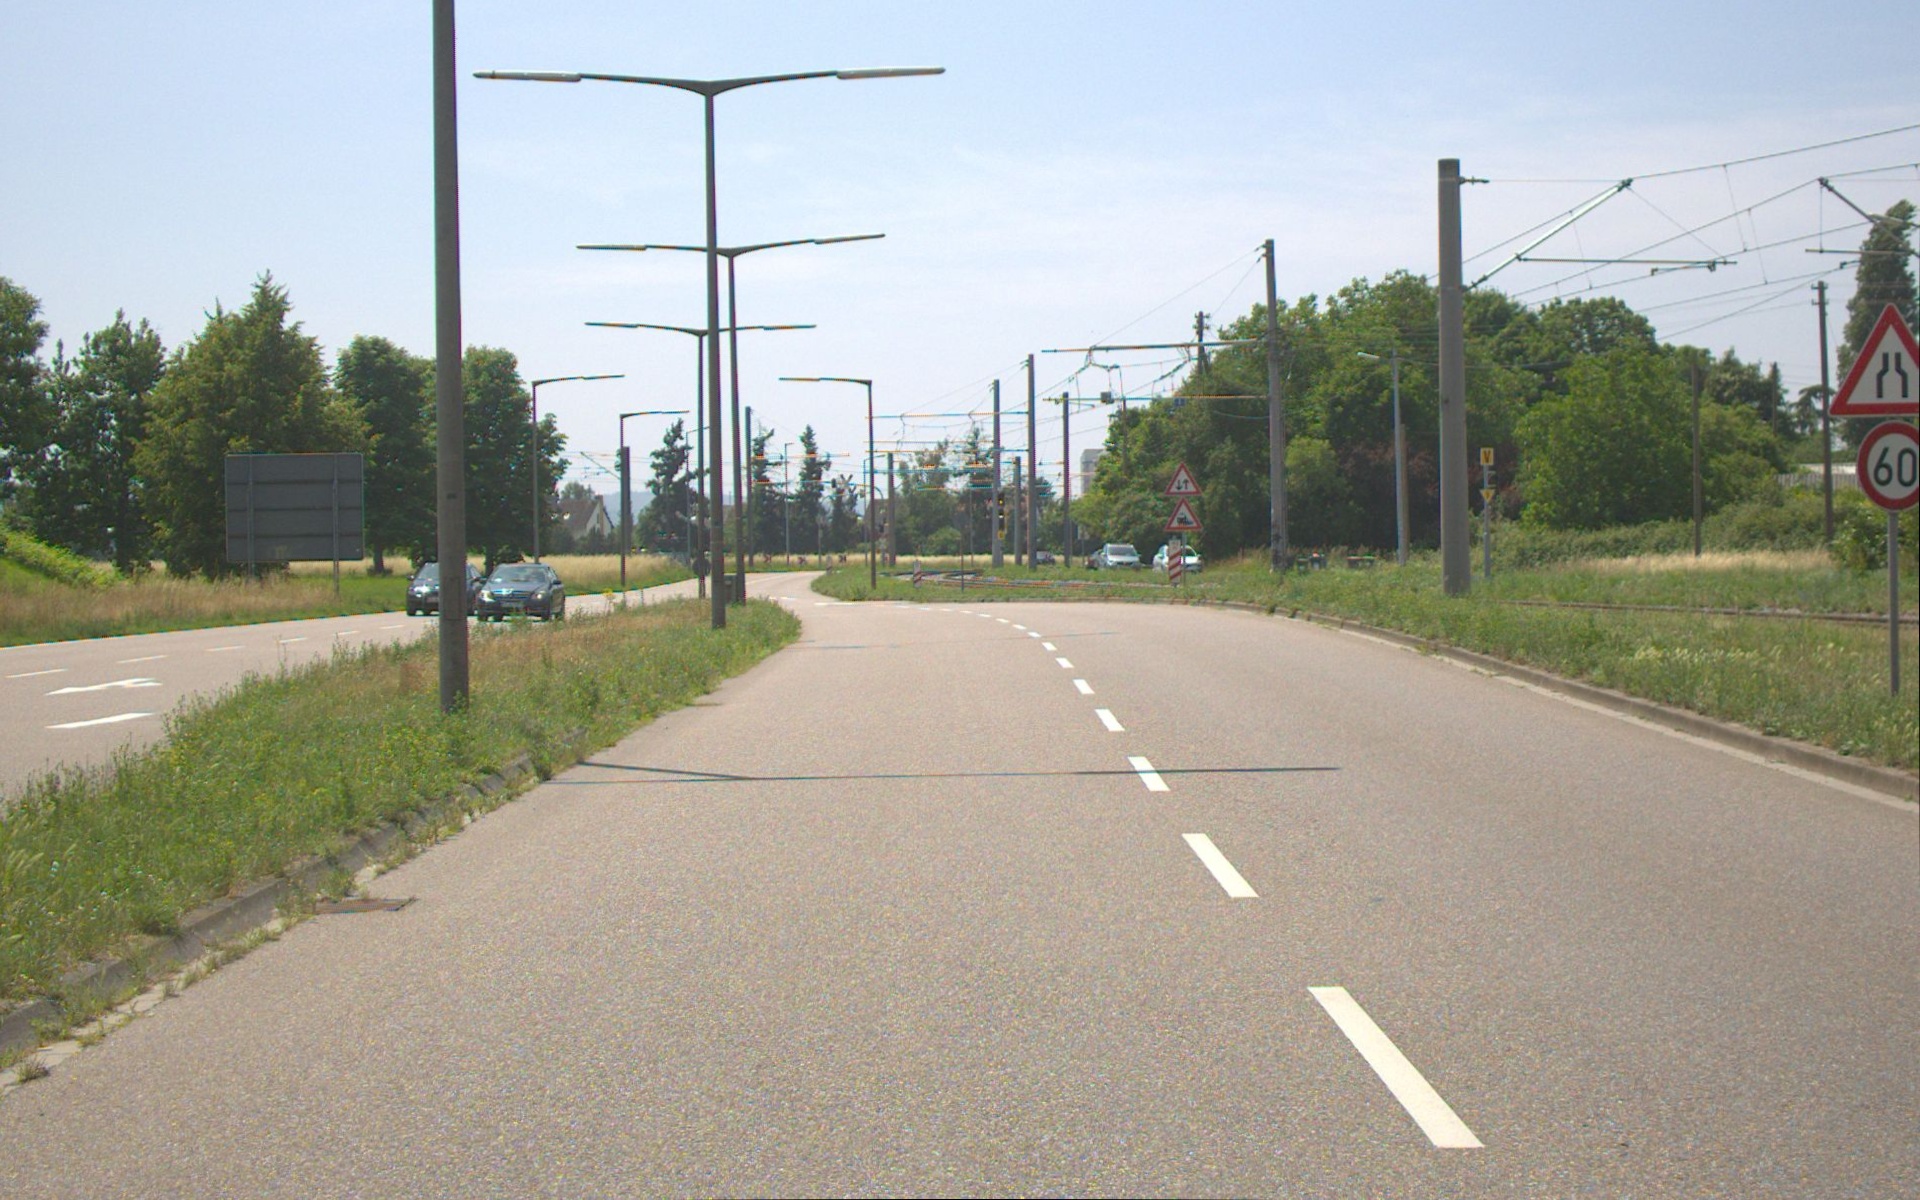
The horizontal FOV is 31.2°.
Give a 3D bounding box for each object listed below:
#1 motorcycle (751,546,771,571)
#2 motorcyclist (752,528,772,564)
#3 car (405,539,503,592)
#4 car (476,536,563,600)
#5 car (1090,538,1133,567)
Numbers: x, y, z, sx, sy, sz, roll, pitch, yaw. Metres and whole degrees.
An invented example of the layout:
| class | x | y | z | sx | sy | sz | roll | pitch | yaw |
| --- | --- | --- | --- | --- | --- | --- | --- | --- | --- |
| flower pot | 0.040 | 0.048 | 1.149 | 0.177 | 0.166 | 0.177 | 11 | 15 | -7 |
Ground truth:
| class | x | y | z | sx | sy | sz | roll | pitch | yaw |
| --- | --- | --- | --- | --- | --- | --- | --- | --- | --- |
| motorcycle | -13.104 | -2.719 | 226.817 | 0.989 | 1.575 | 3.400 | 1 | 0 | 2 |
| motorcyclist | -13.075 | -3.571 | 226.940 | 1.231 | 2.343 | 1.106 | 1 | 0 | 2 |
| car | -13.760 | -0.951 | 93.632 | 1.993 | 1.355 | 4.666 | -1 | 1 | -1 |
| car | -10.731 | -0.796 | 83.949 | 1.692 | 1.486 | 4.000 | -1 | 1 | -2 |
| car | 7.625 | -2.376 | 173.037 | 1.671 | 1.392 | 3.651 | 1 | 0 | -5 |
